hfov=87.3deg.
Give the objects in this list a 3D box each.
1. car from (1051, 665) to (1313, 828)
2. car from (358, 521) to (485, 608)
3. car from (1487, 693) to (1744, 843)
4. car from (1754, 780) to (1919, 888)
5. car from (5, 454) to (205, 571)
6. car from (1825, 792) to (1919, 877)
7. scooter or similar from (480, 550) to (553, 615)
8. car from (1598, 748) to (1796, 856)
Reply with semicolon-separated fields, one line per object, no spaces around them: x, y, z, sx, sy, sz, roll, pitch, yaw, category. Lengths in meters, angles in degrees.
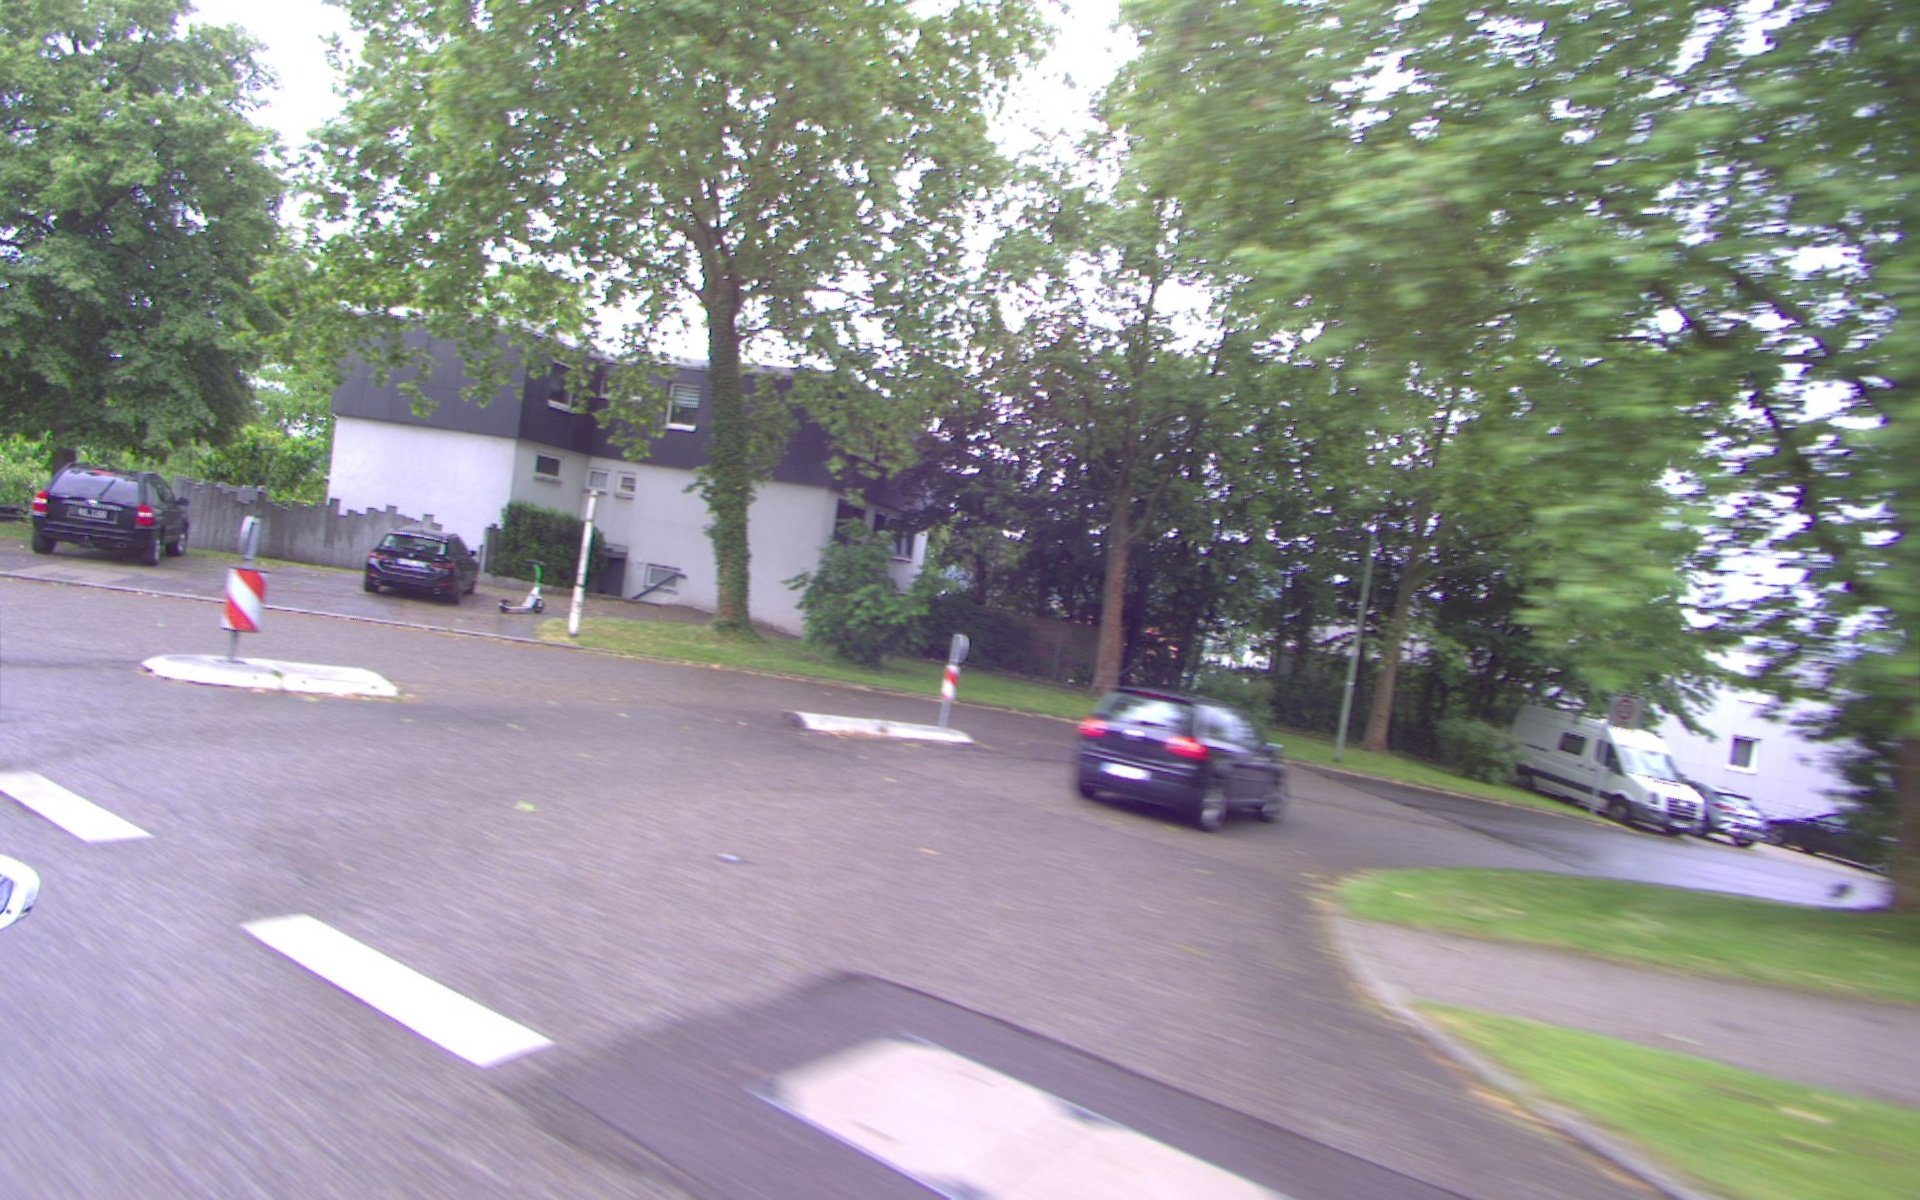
2.957;1.893;12.725;1.700;1.478;3.998;8;-5;35;car
-11.853;-0.871;22.431;1.733;1.488;4.540;9;1;-21;car
18.539;4.645;29.009;2.319;2.709;6.128;8;3;-10;car
26.914;7.002;29.764;2.325;1.862;4.690;12;2;-15;car
-16.452;-1.707;19.654;1.933;1.710;4.862;8;1;-30;car
29.554;7.425;30.657;2.053;1.864;4.290;8;3;-10;car
-9.626;-0.362;21.874;0.552;1.302;1.338;6;1;26;scooter or similar
21.282;5.786;29.321;1.914;1.713;4.290;12;2;-10;car
